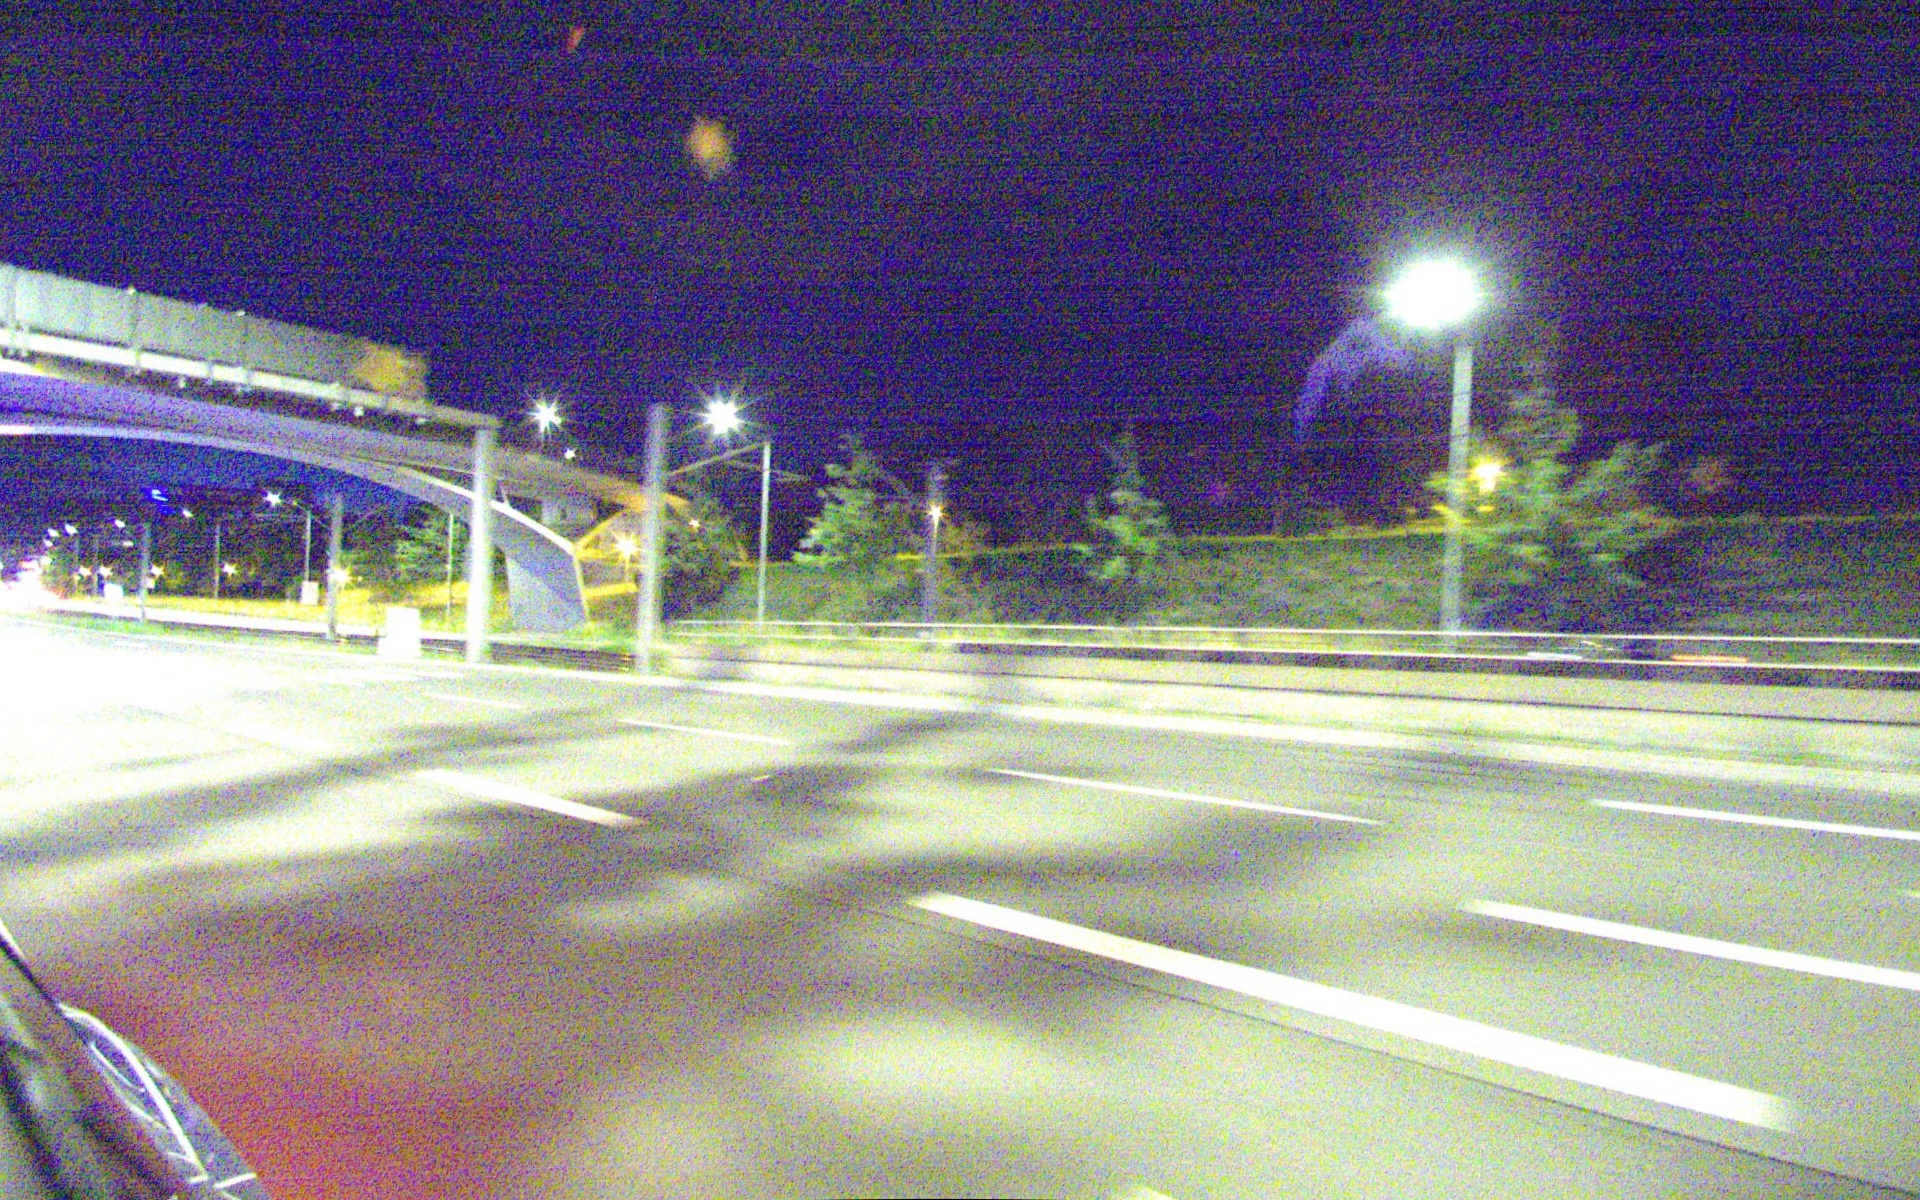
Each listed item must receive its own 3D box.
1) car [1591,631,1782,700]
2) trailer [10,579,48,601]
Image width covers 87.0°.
[{"bbox_3d":[16.251,1.414,22.704,3.388,1.279,1.512,1,1,40],"label":"car"},{"bbox_3d":[-173.931,-1.826,189.071,8.378,4.019,3.663,1,1,36],"label":"trailer"}]
